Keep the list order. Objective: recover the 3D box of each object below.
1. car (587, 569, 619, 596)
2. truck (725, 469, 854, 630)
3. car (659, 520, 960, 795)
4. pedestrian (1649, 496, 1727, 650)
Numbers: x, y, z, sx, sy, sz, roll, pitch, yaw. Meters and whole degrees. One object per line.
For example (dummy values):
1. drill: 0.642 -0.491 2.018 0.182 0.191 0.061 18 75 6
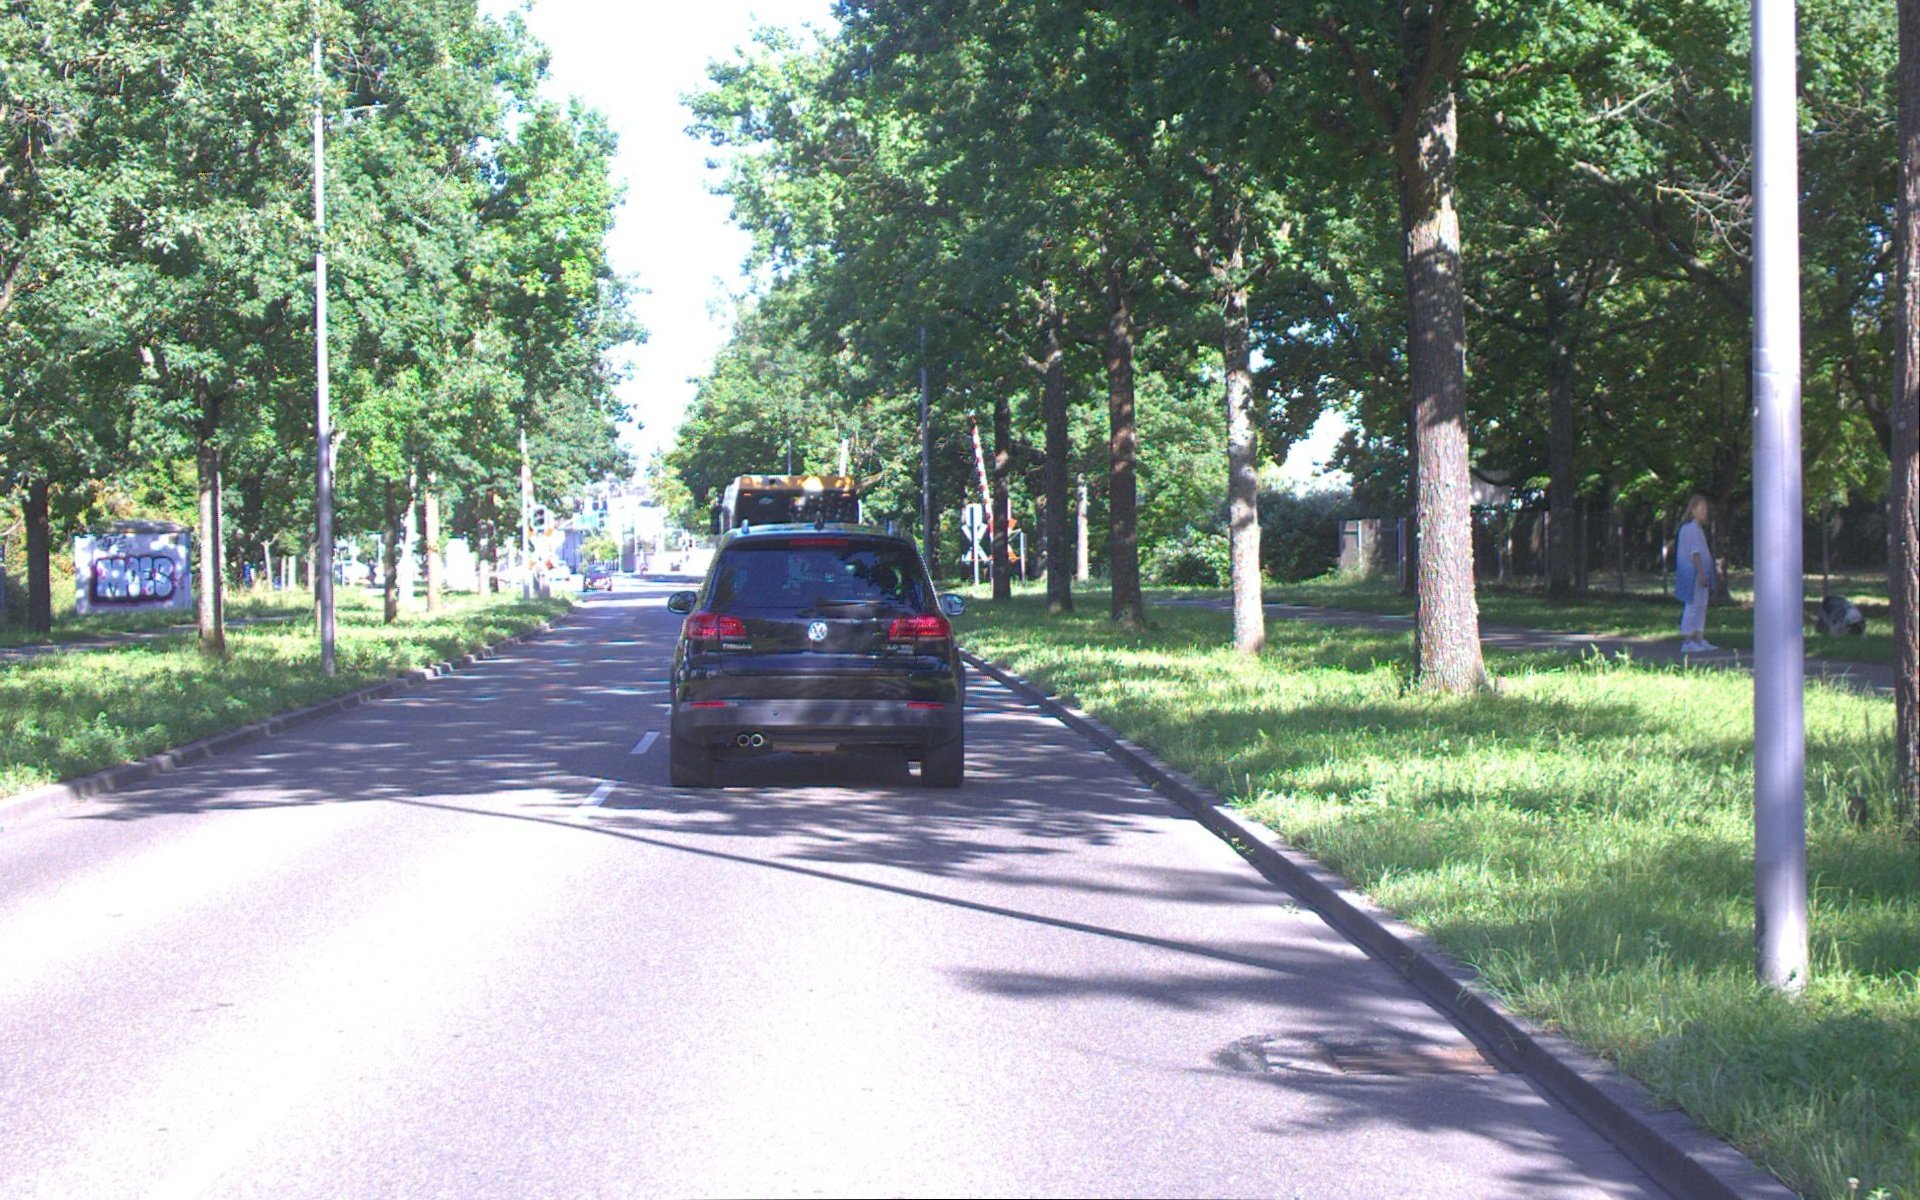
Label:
1. car: -20.451 -0.994 197.090 1.565 1.499 4.000 1 1 -2
2. truck: -3.727 -1.085 73.723 2.511 3.232 8.153 -1 1 -4
3. car: -1.042 0.326 22.606 1.782 1.628 4.001 1 1 -4
4. pedestrian: 7.912 -0.299 37.329 0.717 1.625 0.609 -3 1 15
